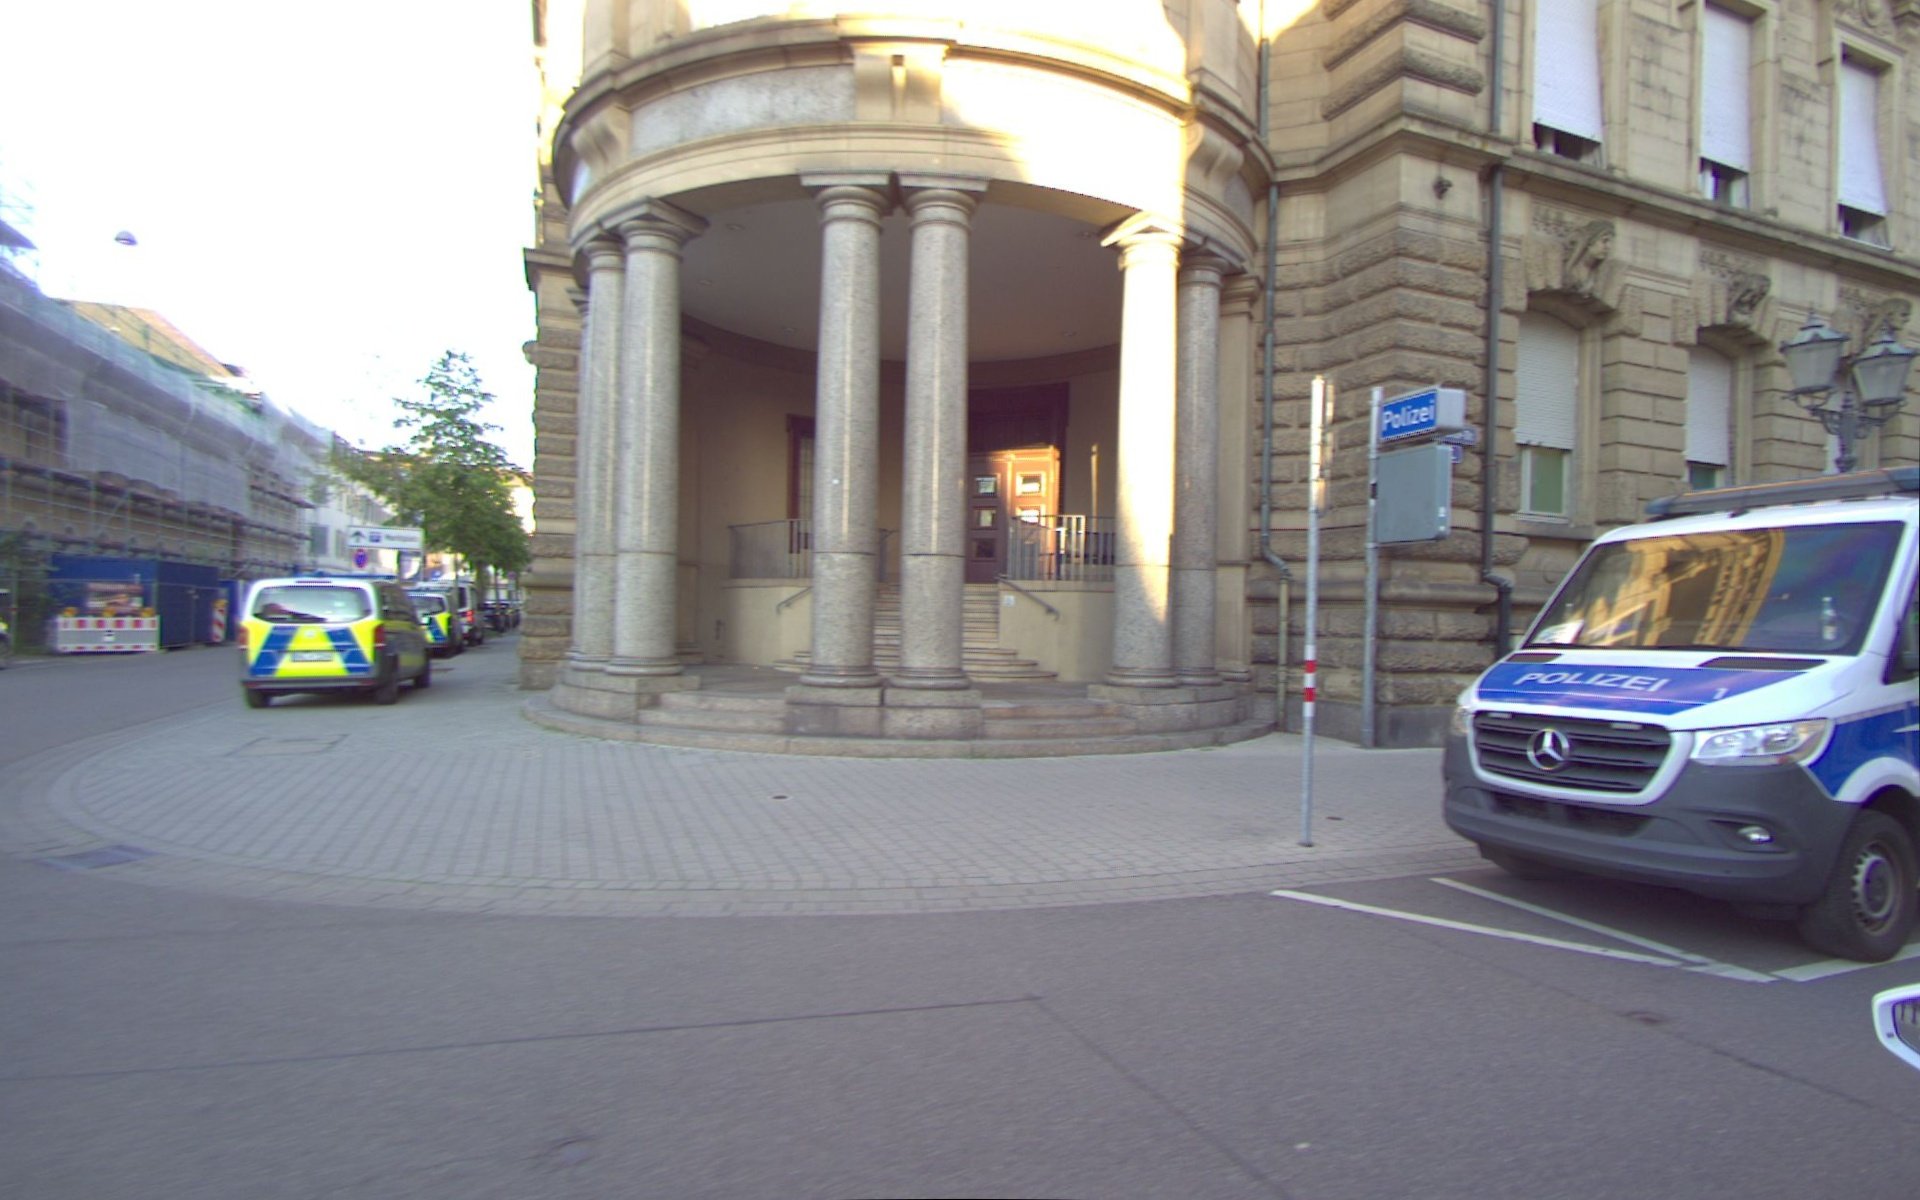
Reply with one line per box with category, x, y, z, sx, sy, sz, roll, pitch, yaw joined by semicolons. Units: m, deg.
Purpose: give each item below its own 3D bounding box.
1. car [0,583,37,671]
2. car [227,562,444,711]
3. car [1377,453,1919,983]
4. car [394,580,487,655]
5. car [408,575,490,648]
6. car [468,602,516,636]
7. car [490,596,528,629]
car;-19.816;0.510;18.944;1.968;1.759;3.985;2;-1;-17
car;-9.691;0.526;15.976;1.968;2.040;3.985;1;-1;-17
car;5.238;0.565;6.175;5.136;2.200;1.988;2;-1;-25
car;-15.257;0.502;29.686;1.971;2.040;3.980;2;-1;-21
car;-18.615;0.419;36.784;2.196;2.478;3.980;2;-1;-21
car;-25.471;1.020;54.748;2.063;1.789;3.980;2;-1;-21
car;-30.324;0.838;67.665;2.063;2.126;3.980;2;-1;-21
